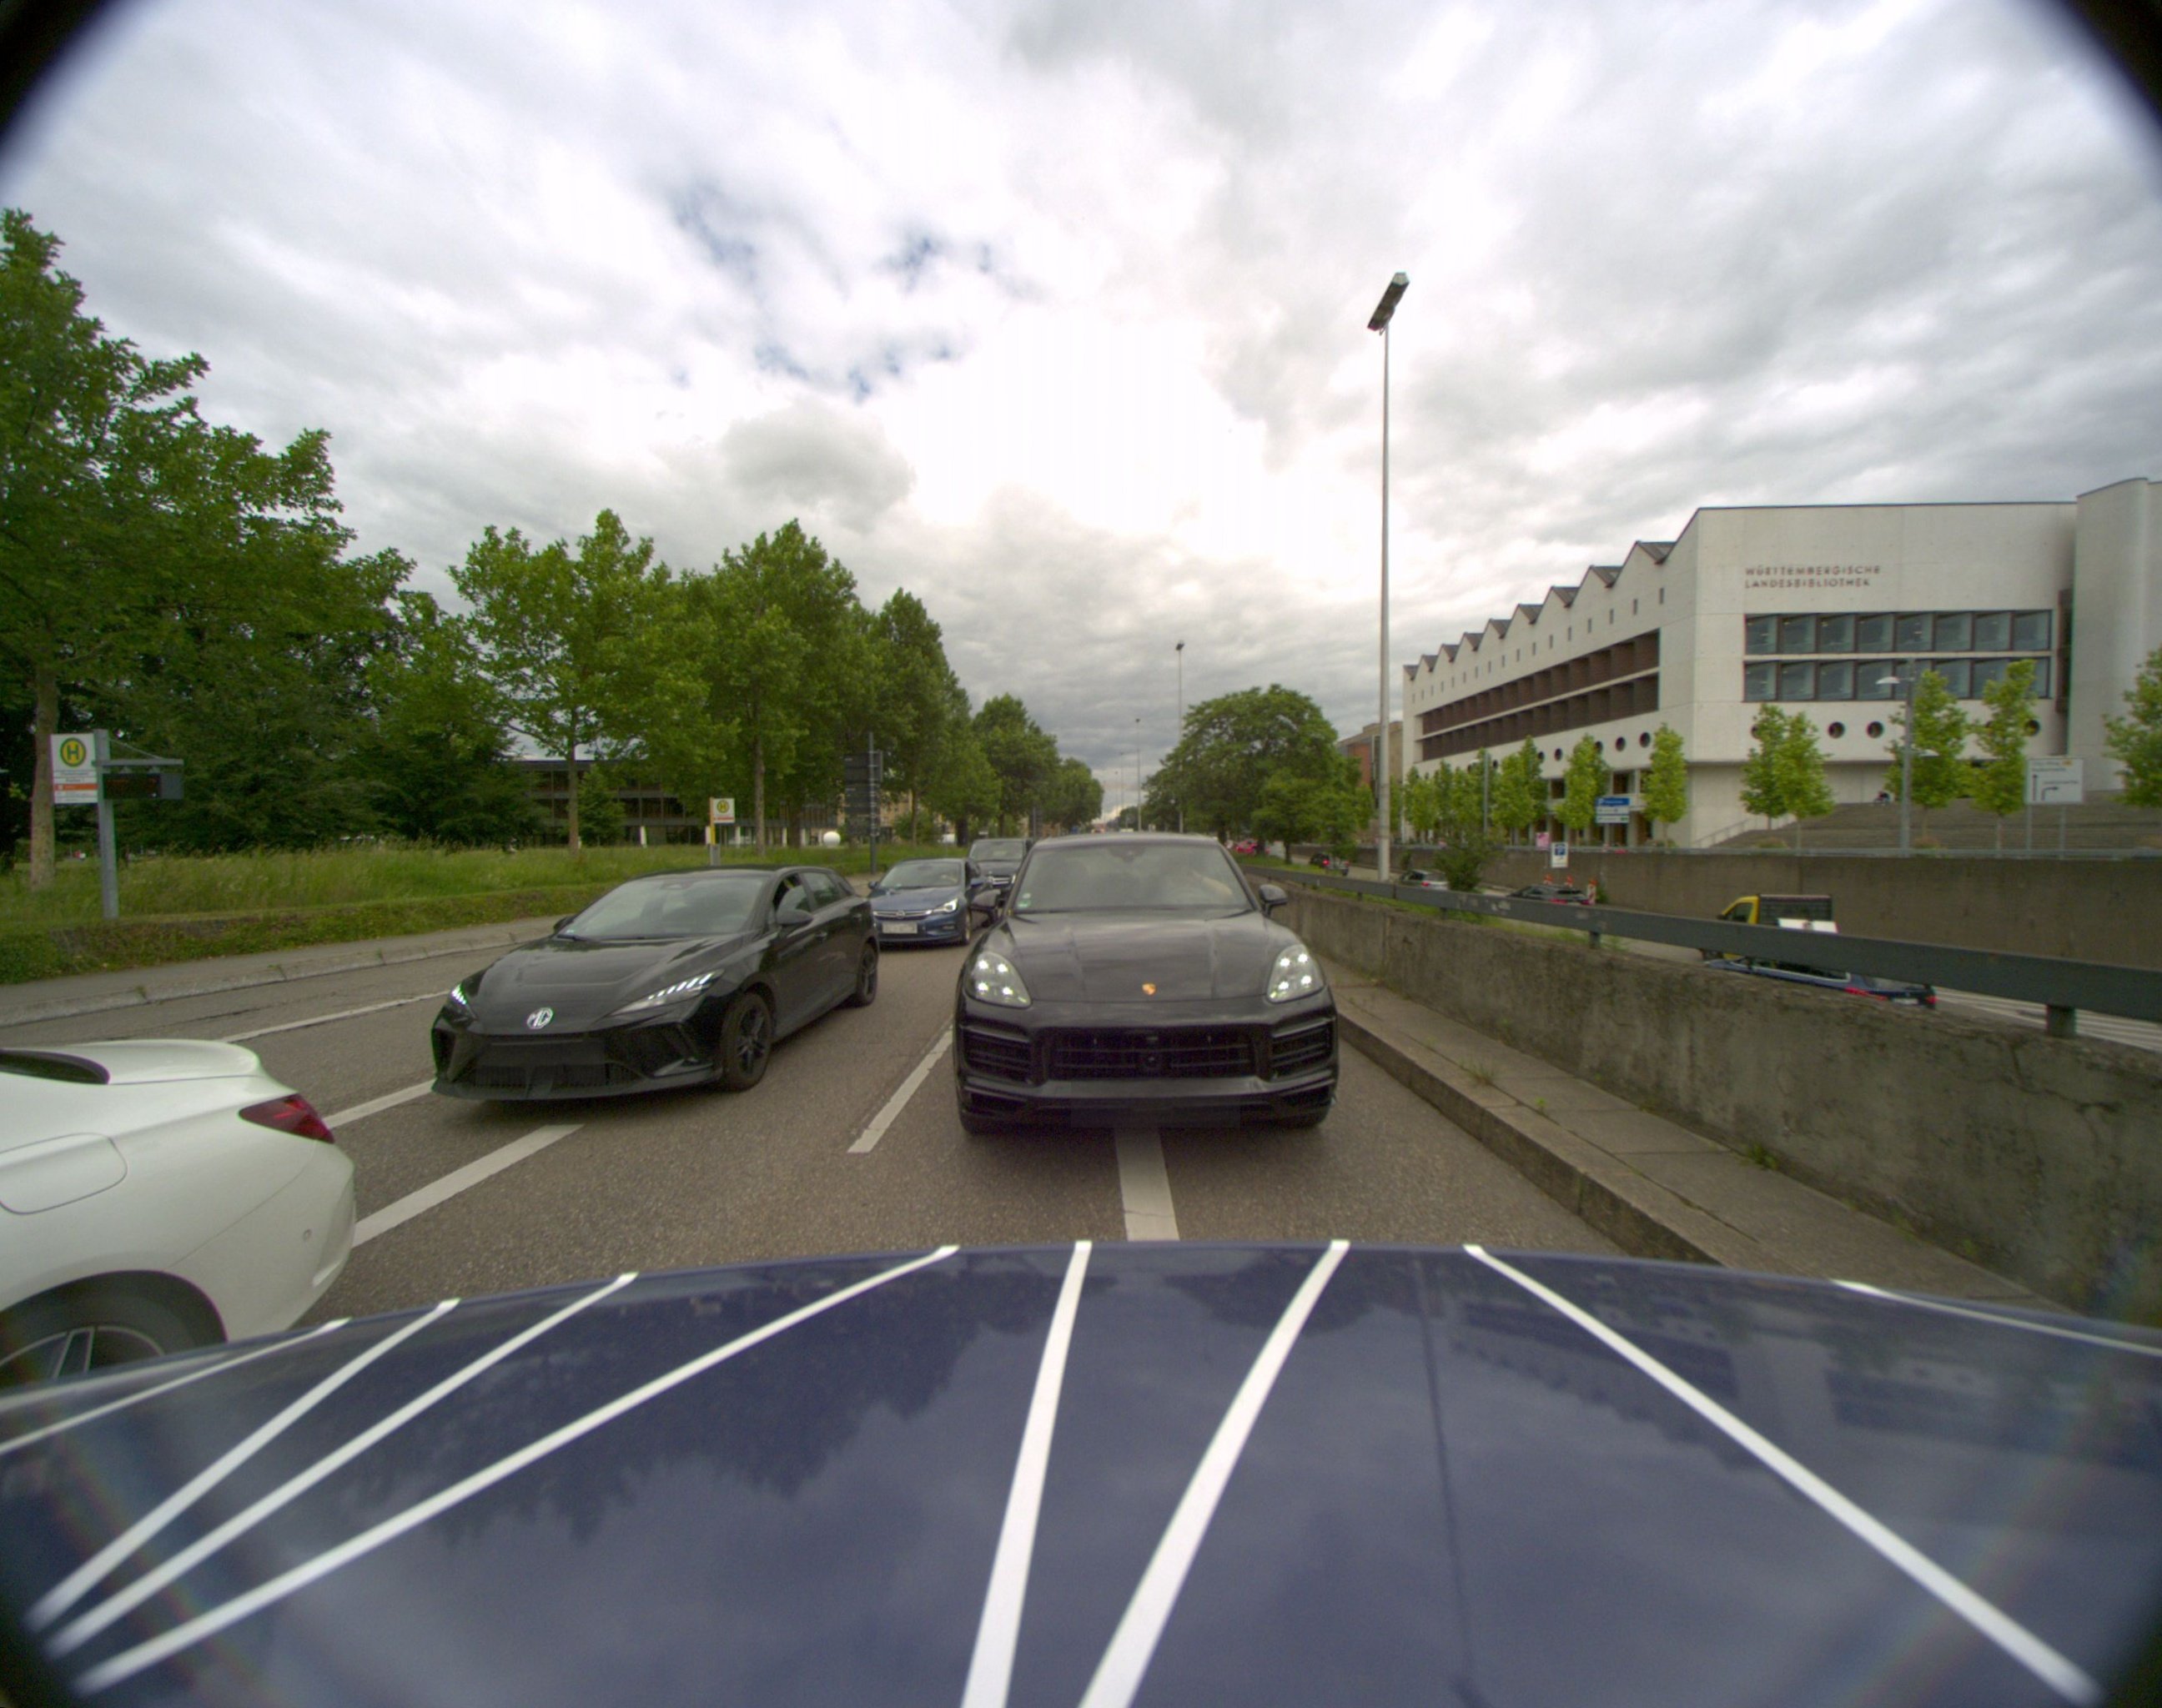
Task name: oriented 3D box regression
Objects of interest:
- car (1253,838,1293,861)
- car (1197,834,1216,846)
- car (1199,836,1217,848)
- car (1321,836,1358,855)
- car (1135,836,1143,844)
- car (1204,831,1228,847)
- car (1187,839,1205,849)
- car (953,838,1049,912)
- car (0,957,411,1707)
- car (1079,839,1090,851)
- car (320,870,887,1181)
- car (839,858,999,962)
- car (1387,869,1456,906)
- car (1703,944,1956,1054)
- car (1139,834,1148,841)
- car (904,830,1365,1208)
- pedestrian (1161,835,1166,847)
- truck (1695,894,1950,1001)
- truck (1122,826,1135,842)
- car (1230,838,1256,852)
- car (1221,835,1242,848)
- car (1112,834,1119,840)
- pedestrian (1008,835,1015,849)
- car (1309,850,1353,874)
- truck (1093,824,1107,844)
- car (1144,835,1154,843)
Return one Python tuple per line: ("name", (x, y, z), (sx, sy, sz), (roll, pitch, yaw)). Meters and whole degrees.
("car", (17.545, -0.448, 69.703), (2.224, 2.002, 5.114), (-1, 1, -3))
("car", (17.072, -1.917, 103.668), (1.779, 1.481, 4.143), (0, 4, 0))
("car", (19.783, -1.832, 118.584), (1.998, 1.753, 3.999), (2, 2, 0))
("car", (26.606, -0.889, 78.473), (2.180, 1.844, 4.735), (-1, 1, -1))
("car", (11.412, -2.800, 149.638), (1.372, 1.389, 3.722), (-1, -1, -1))
("car", (16.729, -1.907, 94.275), (1.998, 1.630, 5.247), (5, 3, 0))
("car", (16.666, -1.490, 110.033), (1.998, 1.390, 3.999), (2, 1, 0))
("car", (-2.116, 0.477, 21.606), (2.021, 1.823, 4.804), (-1, 1, 2))
("car", (-3.178, 1.105, 0.210), (1.799, 1.412, 4.526), (-1, 1, 2))
("car", (0.604, -1.649, 135.111), (1.693, 2.002, 3.999), (-3, 2, 2))
("car", (-3.099, 0.978, 6.144), (1.852, 1.481, 4.092), (-1, 1, 2))
("car", (-2.659, 0.854, 13.450), (1.805, 1.426, 4.015), (-1, 1, 2))
("car", (17.444, 1.692, 39.116), (1.717, 1.533, 3.906), (-3, 2, -2))
("car", (17.105, 3.238, 17.716), (1.816, 1.562, 4.168), (-3, 2, 1))
("car", (11.726, -3.064, 141.865), (1.372, 1.390, 3.721), (2, 1, 0))
("car", (0.348, 0.660, 5.562), (1.904, 1.581, 4.732), (-1, 1, 3))
("pedestrian", (13.771, -2.172, 126.936), (0.792, 2.002, 0.741), (-1, 0, 2))
("truck", (20.598, 2.469, 21.578), (2.187, 2.386, 5.381), (-1, 0, 4))
("truck", (10.633, -4.484, 170.197), (2.576, 3.289, 8.078), (-3, 2, 2))
("car", (17.304, -0.980, 81.330), (1.998, 1.477, 4.000), (-1, 1, 2))
("car", (19.894, -1.637, 100.550), (1.780, 1.481, 4.142), (0, 4, -2))
("car", (10.441, -5.161, 232.225), (1.998, 1.753, 3.999), (2, 2, 0))
("pedestrian", (-10.610, -1.803, 115.960), (0.892, 2.002, 1.181), (-3, 2, 2))
("car", (17.807, 0.527, 54.329), (1.880, 1.539, 3.999), (-1, 1, 1))
("truck", (3.647, -3.782, 142.461), (2.357, 3.518, 9.423), (-3, 2, 2))
("car", (12.074, -2.702, 134.368), (1.372, 1.390, 3.721), (2, 1, 0))
